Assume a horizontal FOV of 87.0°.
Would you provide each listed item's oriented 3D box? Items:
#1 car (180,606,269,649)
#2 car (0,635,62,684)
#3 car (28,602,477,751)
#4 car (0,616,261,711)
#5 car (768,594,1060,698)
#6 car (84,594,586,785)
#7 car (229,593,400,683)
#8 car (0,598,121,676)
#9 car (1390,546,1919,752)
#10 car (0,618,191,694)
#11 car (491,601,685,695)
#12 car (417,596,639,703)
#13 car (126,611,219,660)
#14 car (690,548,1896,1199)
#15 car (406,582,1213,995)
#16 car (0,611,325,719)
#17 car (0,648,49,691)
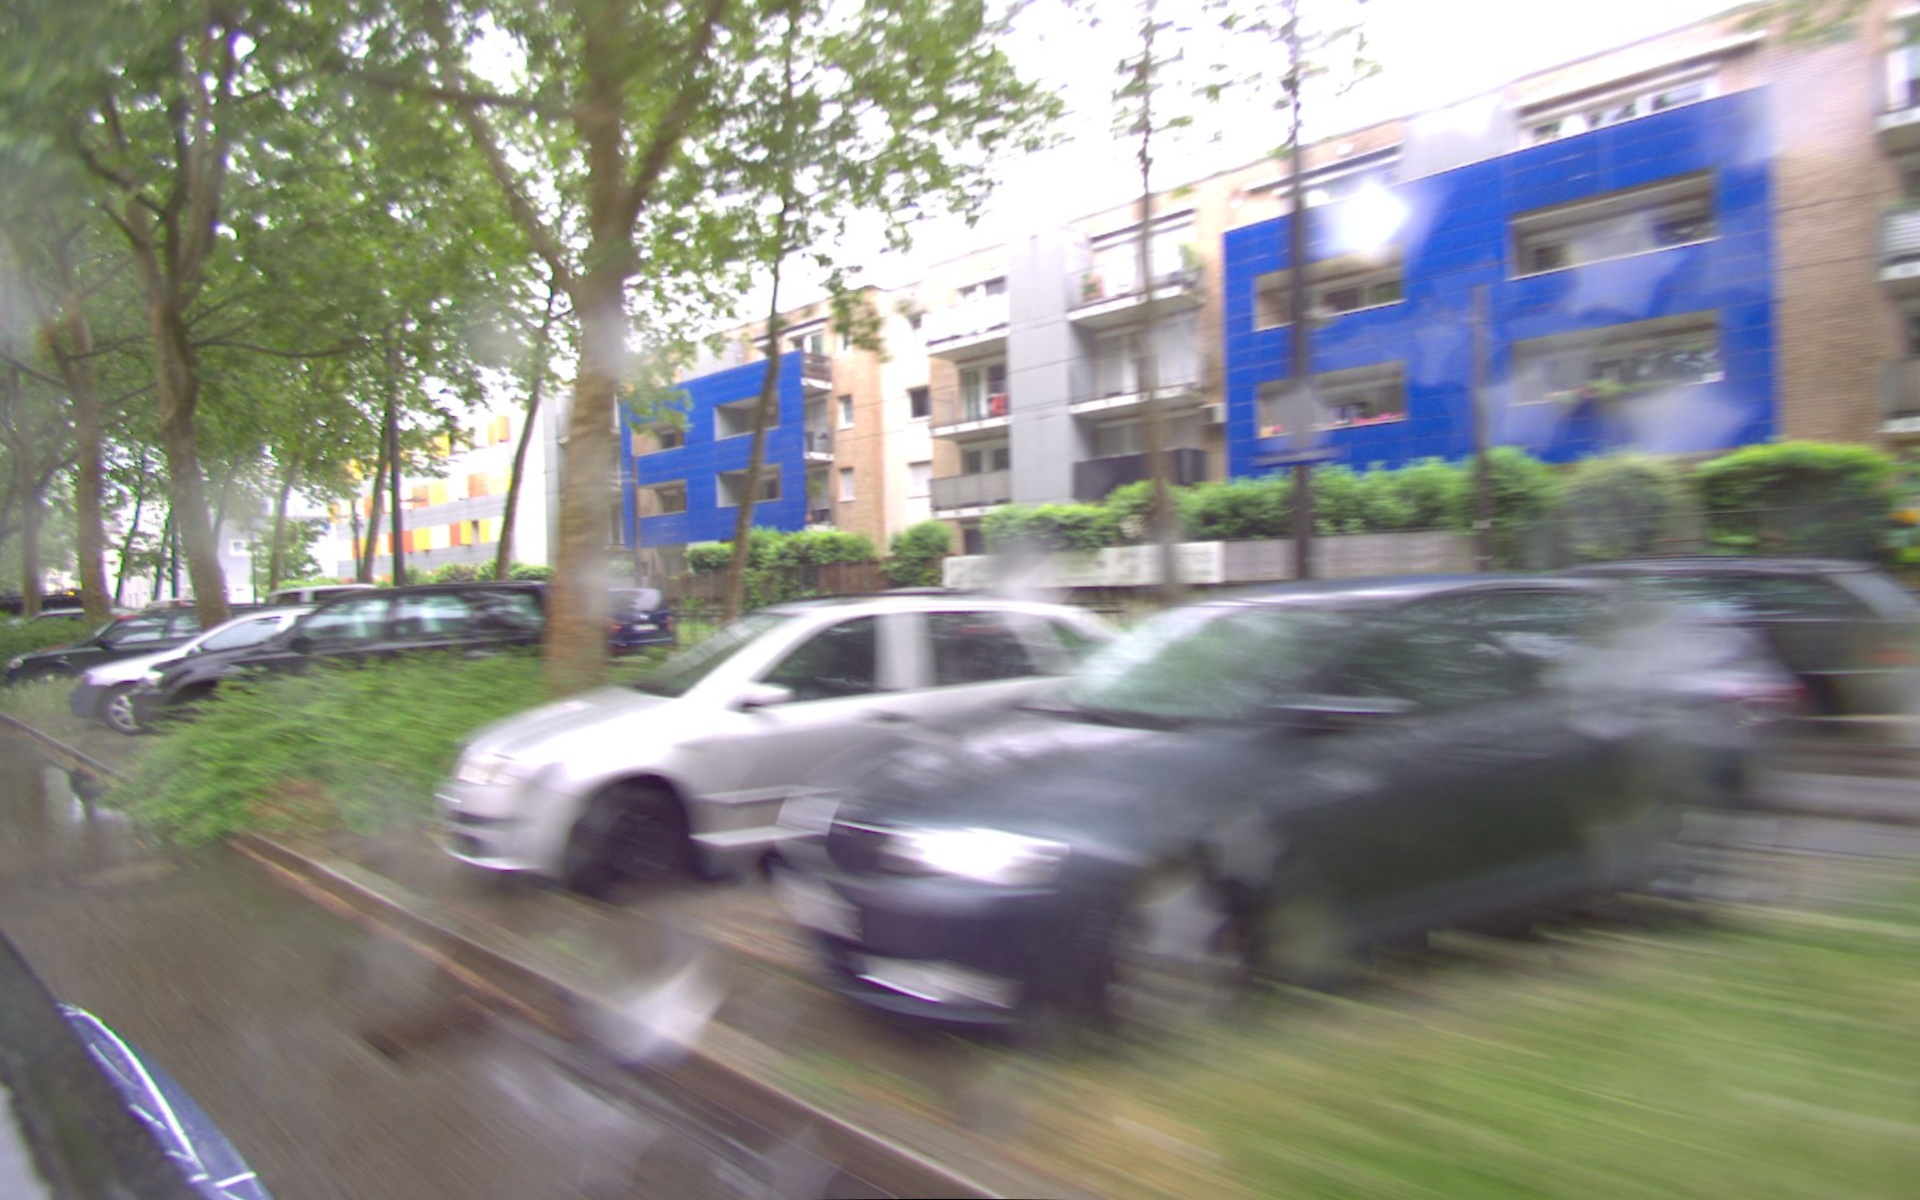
[{"bbox_3d":[-29.960,1.129,41.188,4.212,1.545,1.885,-3,0,40],"label":"car"},{"bbox_3d":[-28.789,1.749,28.731,4.579,1.336,1.853,-2,-1,-22],"label":"car"},{"bbox_3d":[-8.703,0.888,12.951,4.342,1.658,1.877,0,-1,-18],"label":"car"},{"bbox_3d":[-15.806,1.160,19.371,3.591,1.490,1.749,-3,0,-19],"label":"car"},{"bbox_3d":[-0.793,0.709,15.790,4.251,1.400,1.975,-3,-2,37],"label":"car"},{"bbox_3d":[-6.449,0.859,11.093,4.342,1.672,1.936,-2,-1,-19],"label":"car"},{"bbox_3d":[-16.450,0.965,25.683,5.152,2.015,2.018,-3,0,38],"label":"car"},{"bbox_3d":[-29.227,1.159,31.330,4.580,2.300,2.018,-2,-1,-20],"label":"car"},{"bbox_3d":[6.579,0.426,9.461,1.971,1.531,4.240,-1,-2,-44],"label":"car"},{"bbox_3d":[-21.014,1.313,24.039,3.995,1.549,1.841,-3,0,-24],"label":"car"},{"bbox_3d":[-8.045,1.013,21.706,4.417,1.753,1.885,-3,0,40],"label":"car"},{"bbox_3d":[-7.885,0.845,18.332,4.135,1.652,1.974,-2,1,40],"label":"car"},{"bbox_3d":[-36.626,1.682,47.004,5.426,2.012,2.035,-3,1,38],"label":"car"},{"bbox_3d":[1.283,0.646,3.913,4.242,1.447,1.753,-3,-1,-22],"label":"car"},{"bbox_3d":[-0.772,0.768,5.729,3.999,1.510,1.753,-3,-1,-25],"label":"car"},{"bbox_3d":[-13.567,1.051,17.438,4.158,1.490,1.749,-3,0,-22],"label":"car"},{"bbox_3d":[-34.666,2.503,35.641,3.443,1.447,1.787,-2,-1,-22],"label":"car"}]
